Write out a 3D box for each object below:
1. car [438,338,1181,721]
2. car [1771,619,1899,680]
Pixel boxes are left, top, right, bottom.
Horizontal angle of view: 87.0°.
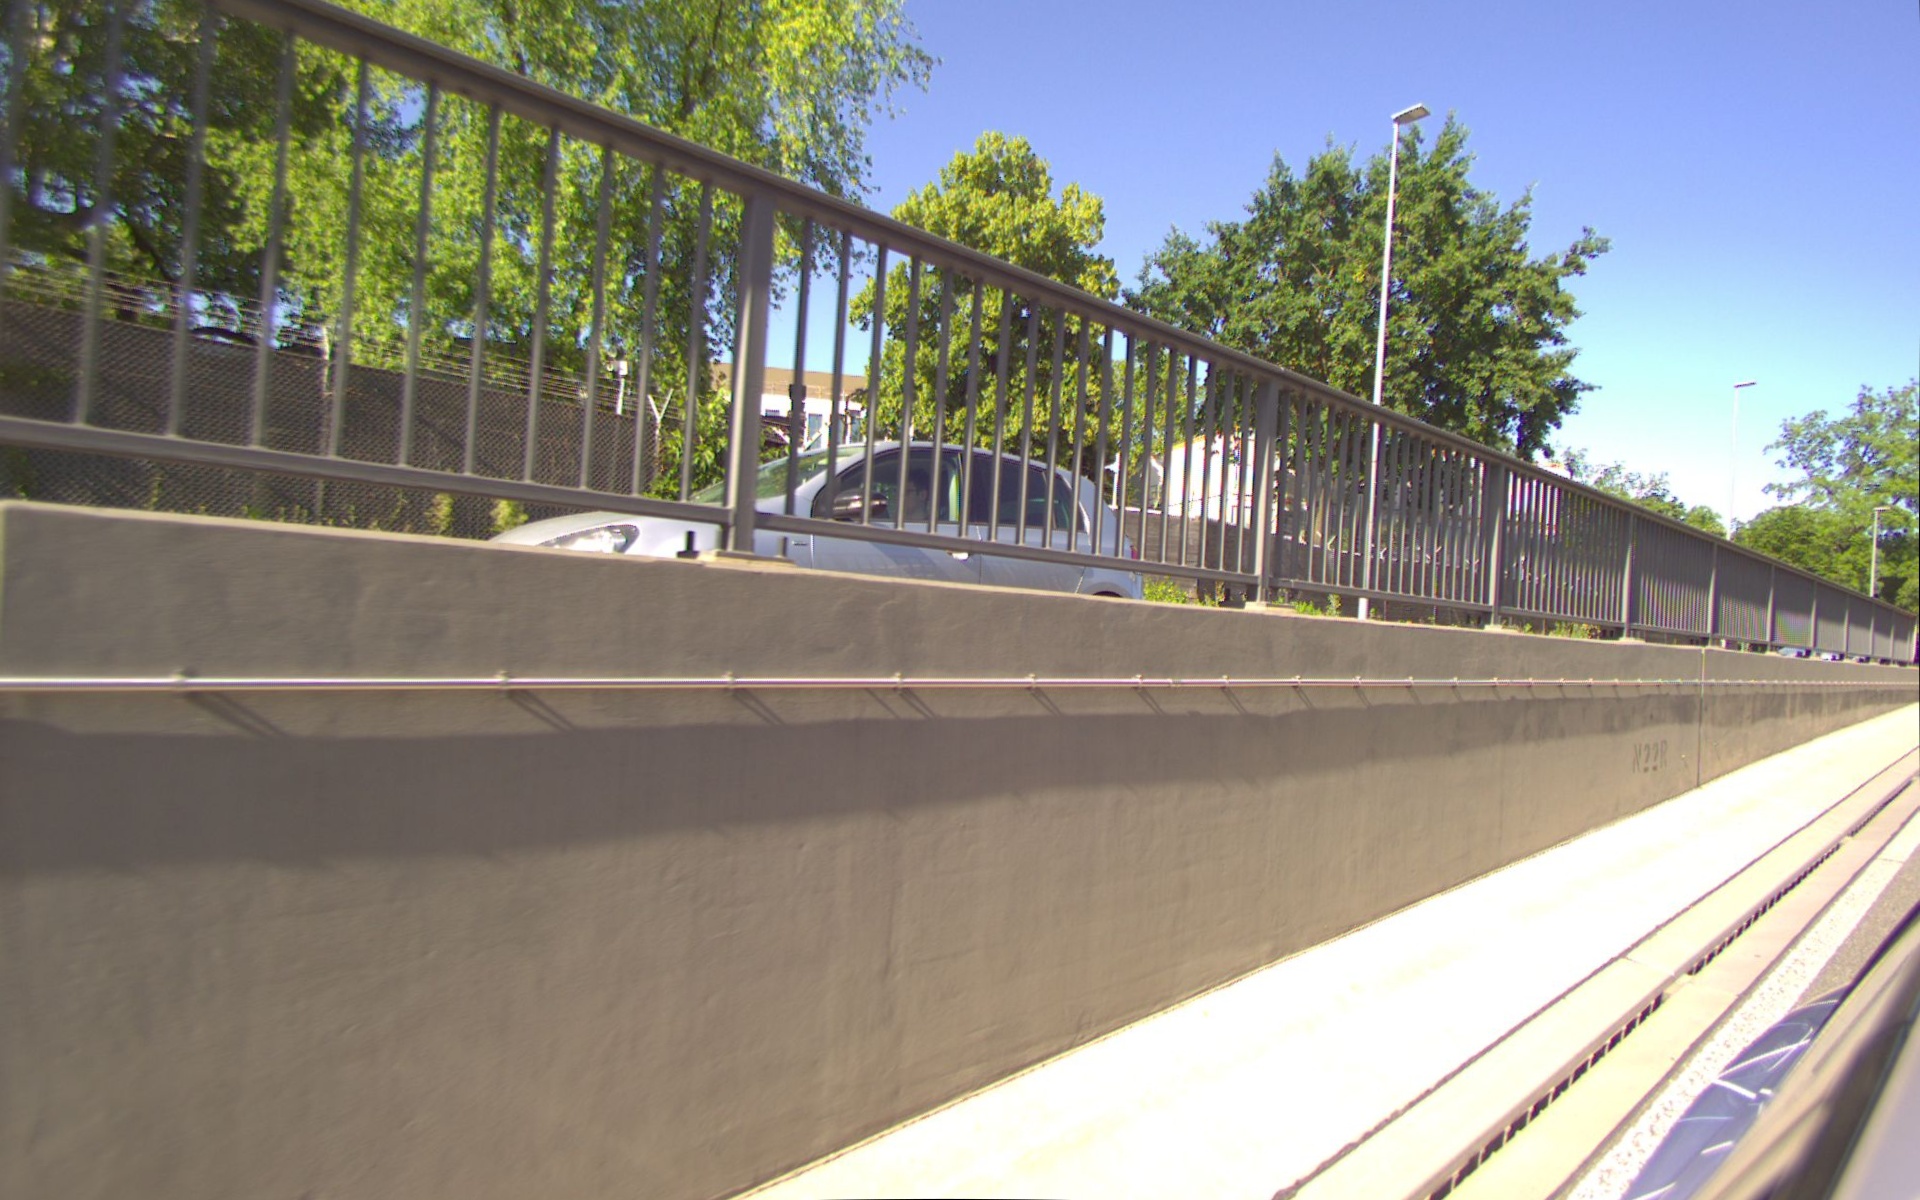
[{"bbox_3d":[-0.600,-0.212,5.775,3.904,1.454,1.669,3,-1,-42],"label":"car"},{"bbox_3d":[23.259,1.325,26.860,4.220,1.419,1.838,4,-1,-39],"label":"car"}]
